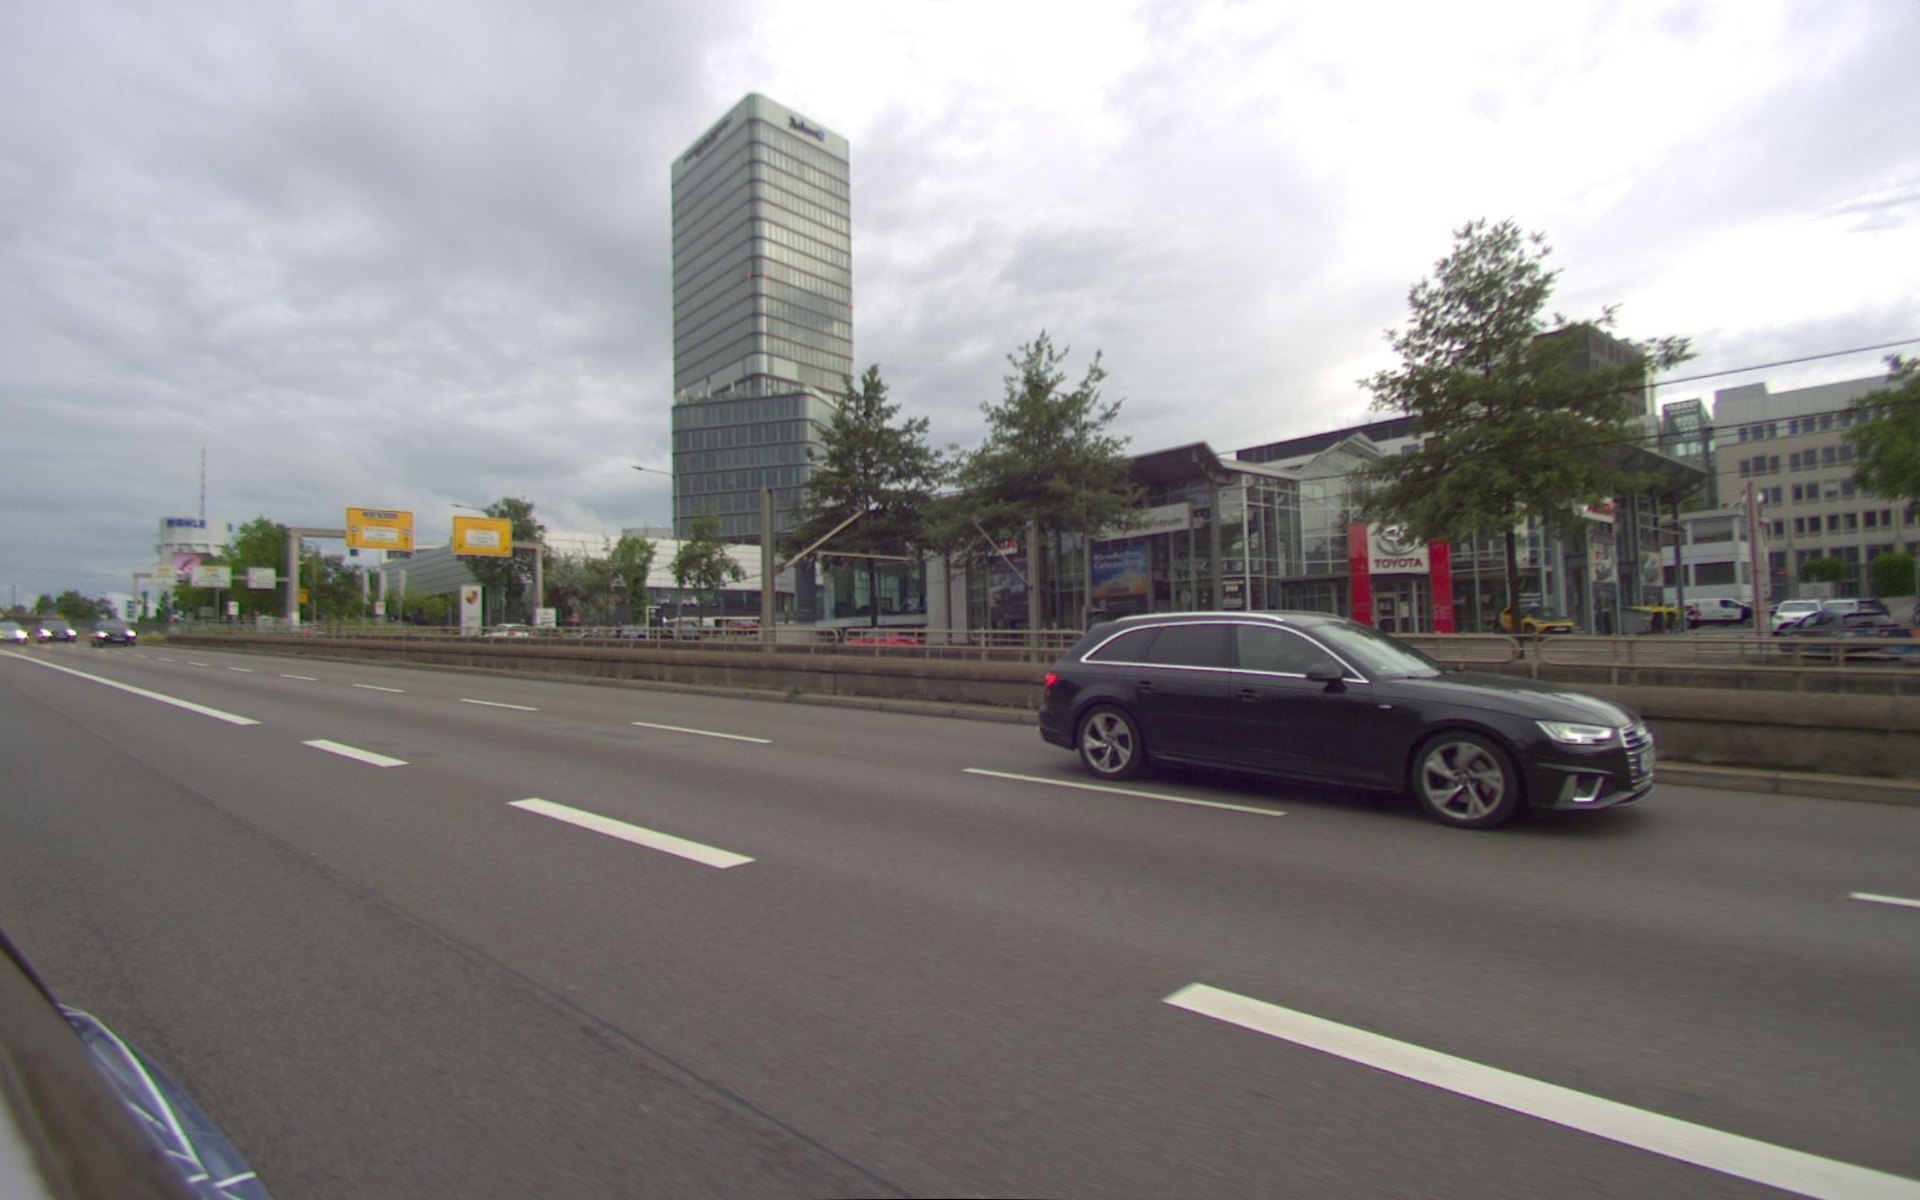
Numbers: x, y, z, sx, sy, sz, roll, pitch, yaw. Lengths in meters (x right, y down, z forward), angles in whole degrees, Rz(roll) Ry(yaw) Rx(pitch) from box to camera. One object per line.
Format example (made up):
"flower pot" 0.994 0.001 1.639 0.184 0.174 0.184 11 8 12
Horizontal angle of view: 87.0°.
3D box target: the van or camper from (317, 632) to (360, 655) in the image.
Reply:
"van or camper" -51.125 3.585 83.262 3.945 1.670 1.845 -5 -3 40

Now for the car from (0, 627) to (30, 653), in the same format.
"car" -62.222 2.583 66.114 4.000 1.644 1.847 -2 -2 43

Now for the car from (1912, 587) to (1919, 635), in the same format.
"car" 35.231 0.324 35.816 1.999 1.663 3.945 -5 -3 41

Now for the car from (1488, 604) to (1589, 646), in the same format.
"car" 25.511 1.115 44.828 1.971 1.663 4.000 -3 -2 -1

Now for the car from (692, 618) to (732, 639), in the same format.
"car" -23.394 2.669 95.374 1.894 1.697 4.005 -2 -3 -41

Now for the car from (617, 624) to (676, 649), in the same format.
"car" -24.621 2.839 79.437 1.924 1.696 3.942 -5 -3 44

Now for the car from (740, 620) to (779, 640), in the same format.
"car" -19.543 2.954 98.542 1.894 1.697 4.005 -2 -3 -41

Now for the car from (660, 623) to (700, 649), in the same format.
"car" -20.801 2.719 75.078 1.890 1.697 4.516 -2 -2 -28

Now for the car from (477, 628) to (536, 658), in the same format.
"car" -26.432 2.497 58.985 1.970 1.597 4.004 1 -4 -43

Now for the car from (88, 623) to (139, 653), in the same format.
"car" -48.005 2.137 57.374 1.846 1.644 4.002 1 -2 -45

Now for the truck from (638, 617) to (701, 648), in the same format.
"truck" -27.298 3.066 94.828 2.339 2.547 7.416 -1 -3 -44

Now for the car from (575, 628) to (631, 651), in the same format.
"car" -29.769 3.290 84.443 1.924 1.696 3.942 -5 -3 44

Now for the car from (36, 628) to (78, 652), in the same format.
"car" -63.995 2.839 71.733 4.000 1.644 1.847 -2 -2 43

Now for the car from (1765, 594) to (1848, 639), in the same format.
"car" 35.225 0.671 42.078 3.938 1.663 2.002 -2 -3 -42

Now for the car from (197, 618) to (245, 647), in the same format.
"car" -45.983 2.029 62.959 3.547 1.602 1.670 -5 -3 42

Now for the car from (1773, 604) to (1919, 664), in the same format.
"car" 27.172 0.979 30.984 1.980 1.663 3.983 -2 -1 13

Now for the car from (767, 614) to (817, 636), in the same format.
"car" -15.536 2.342 93.276 1.969 1.896 5.544 -2 -1 -41

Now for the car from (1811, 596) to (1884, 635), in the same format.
"car" 43.252 0.753 49.309 3.937 1.663 2.003 -2 -3 -40

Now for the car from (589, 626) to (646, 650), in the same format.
"car" -28.018 3.118 82.776 1.924 1.696 3.942 -5 -3 44

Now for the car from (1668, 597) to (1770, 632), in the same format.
"car" 47.529 0.916 63.451 1.738 1.854 4.734 -2 -3 -40

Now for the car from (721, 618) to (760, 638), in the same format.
"car" -21.115 2.713 97.084 1.894 1.697 4.005 -2 -3 -41

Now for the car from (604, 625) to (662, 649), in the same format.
"car" -26.221 2.955 81.159 1.924 1.696 3.942 -5 -3 44

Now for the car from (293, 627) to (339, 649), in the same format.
"car" -48.145 2.803 75.650 4.000 1.597 1.972 -1 -2 43

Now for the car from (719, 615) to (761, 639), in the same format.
"car" -19.422 2.424 89.382 1.878 1.896 4.006 -2 -3 -41

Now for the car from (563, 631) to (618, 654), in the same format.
"car" -31.435 3.623 86.087 1.924 1.696 3.942 -5 -3 44

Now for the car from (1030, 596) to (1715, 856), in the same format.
"car" 2.902 0.740 7.930 4.633 1.430 1.790 -1 0 44

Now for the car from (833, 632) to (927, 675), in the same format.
"car" -3.671 2.379 46.049 4.101 1.791 1.972 -1 0 42
